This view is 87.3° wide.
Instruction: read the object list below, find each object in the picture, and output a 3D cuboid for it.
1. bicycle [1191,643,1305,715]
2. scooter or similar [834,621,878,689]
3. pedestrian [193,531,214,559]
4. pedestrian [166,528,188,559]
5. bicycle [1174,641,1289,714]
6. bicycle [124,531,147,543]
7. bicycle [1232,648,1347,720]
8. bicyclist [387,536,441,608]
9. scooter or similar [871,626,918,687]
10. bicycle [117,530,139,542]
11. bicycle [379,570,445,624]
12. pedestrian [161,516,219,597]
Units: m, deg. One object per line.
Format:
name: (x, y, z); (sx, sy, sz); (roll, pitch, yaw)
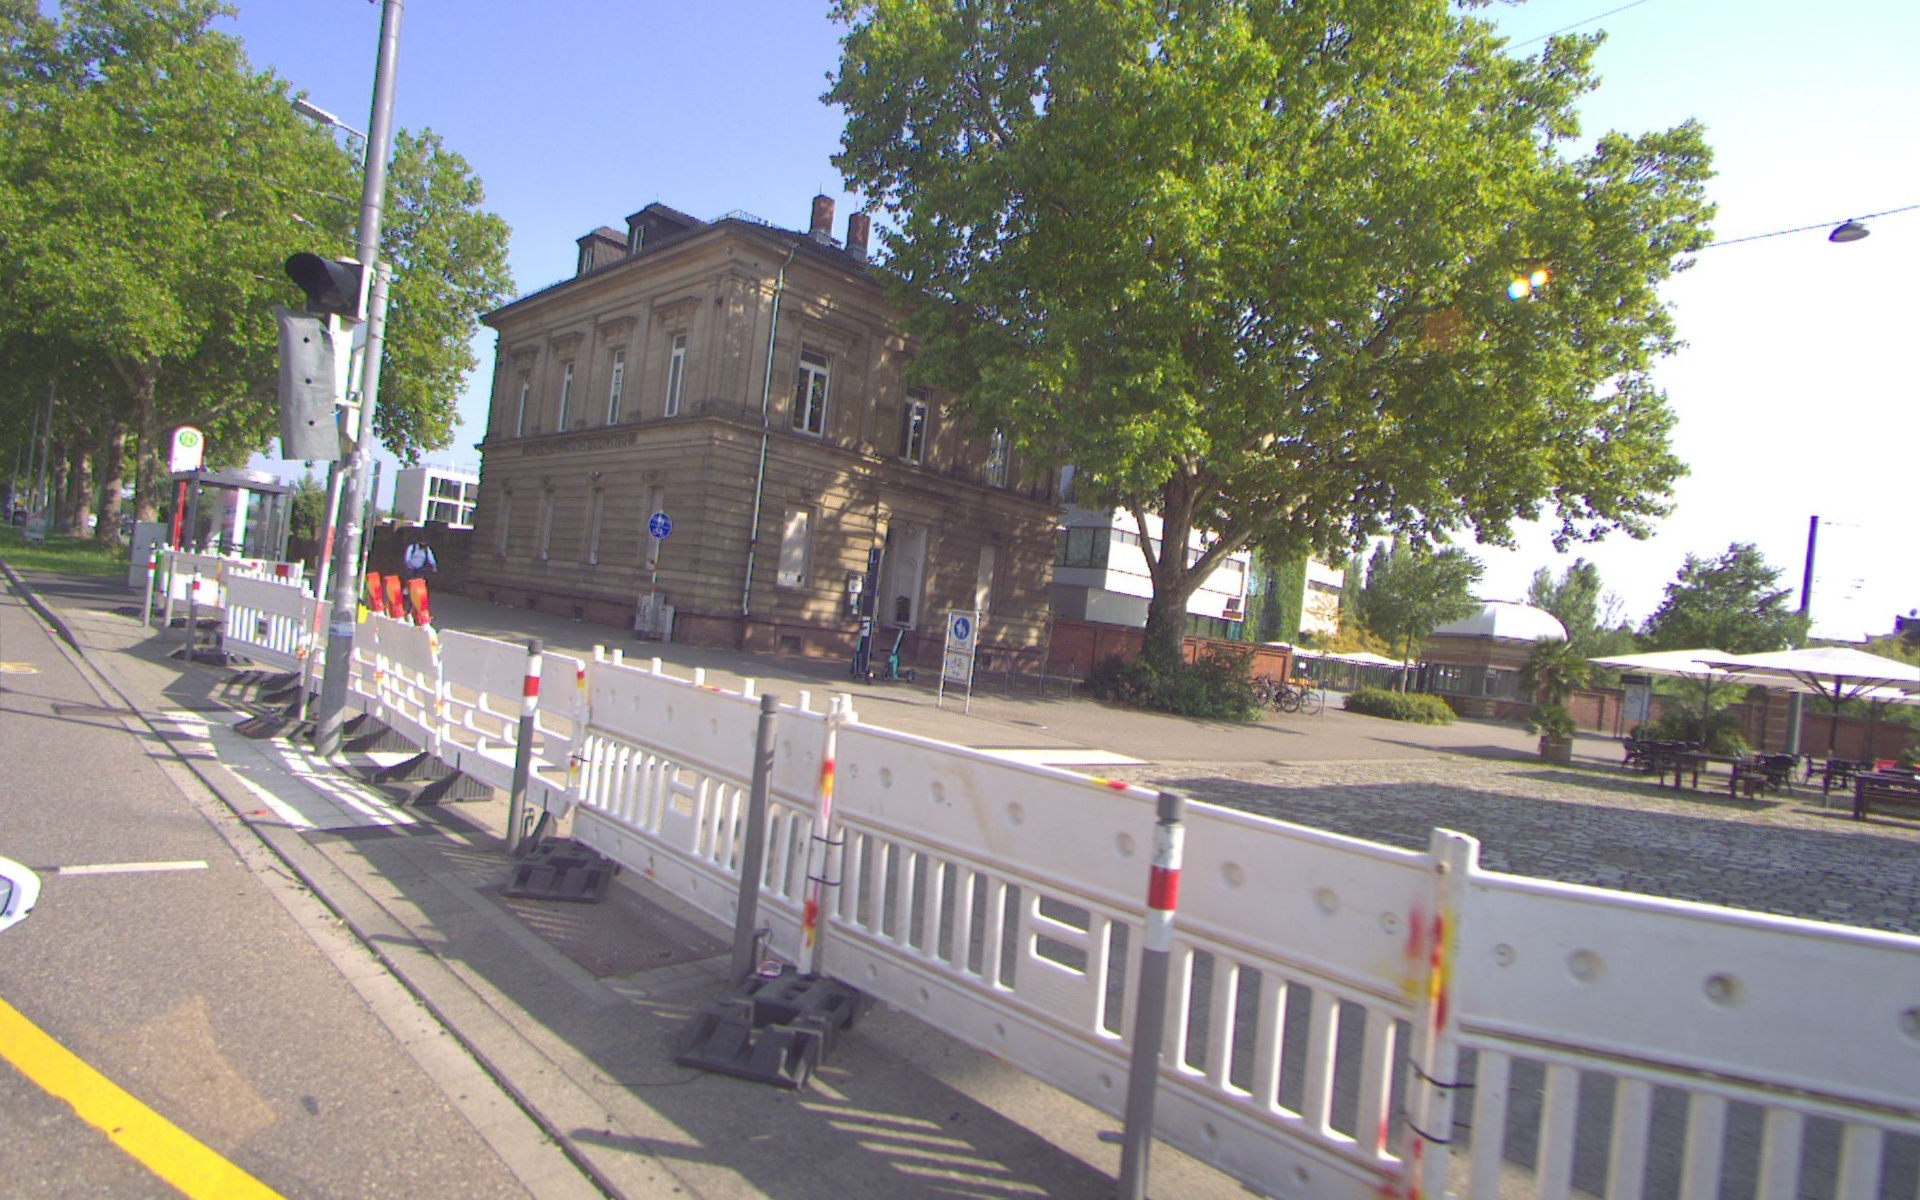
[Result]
bicycle: (8.992, 2.450, 31.565); (3.243, 1.824, 0.845); (6, -1, 44)
scooter or similar: (-2.120, 1.102, 20.416); (0.417, 1.225, 1.248); (7, 1, -22)
pedestrian: (-45.861, -3.345, 60.976); (0.803, 1.624, 0.935); (5, 1, -44)
pedestrian: (-44.395, -3.216, 57.041); (0.803, 1.657, 0.935); (5, 1, -44)
bicycle: (8.287, 2.350, 30.902); (3.243, 1.824, 0.845); (6, -1, 44)
bicycle: (-76.531, -5.852, 93.374); (1.648, 0.982, 0.501); (5, 1, -39)
bicycle: (10.349, 2.616, 31.701); (3.243, 1.824, 0.845); (6, -1, 44)
bicyclist: (-12.740, -0.661, 23.464); (0.943, 1.562, 0.716); (7, 0, 43)
scooter or similar: (-1.408, 1.214, 21.814); (0.415, 1.225, 1.254); (8, 1, 20)
bicycle: (-78.777, -6.048, 95.268); (1.630, 0.982, 0.506); (5, 1, 4)
bicycle: (-12.784, -0.084, 23.448); (1.877, 1.054, 0.716); (6, 0, 43)
pedestrian: (-17.395, -0.971, 22.741); (0.637, 1.717, 0.689); (6, 0, 24)
